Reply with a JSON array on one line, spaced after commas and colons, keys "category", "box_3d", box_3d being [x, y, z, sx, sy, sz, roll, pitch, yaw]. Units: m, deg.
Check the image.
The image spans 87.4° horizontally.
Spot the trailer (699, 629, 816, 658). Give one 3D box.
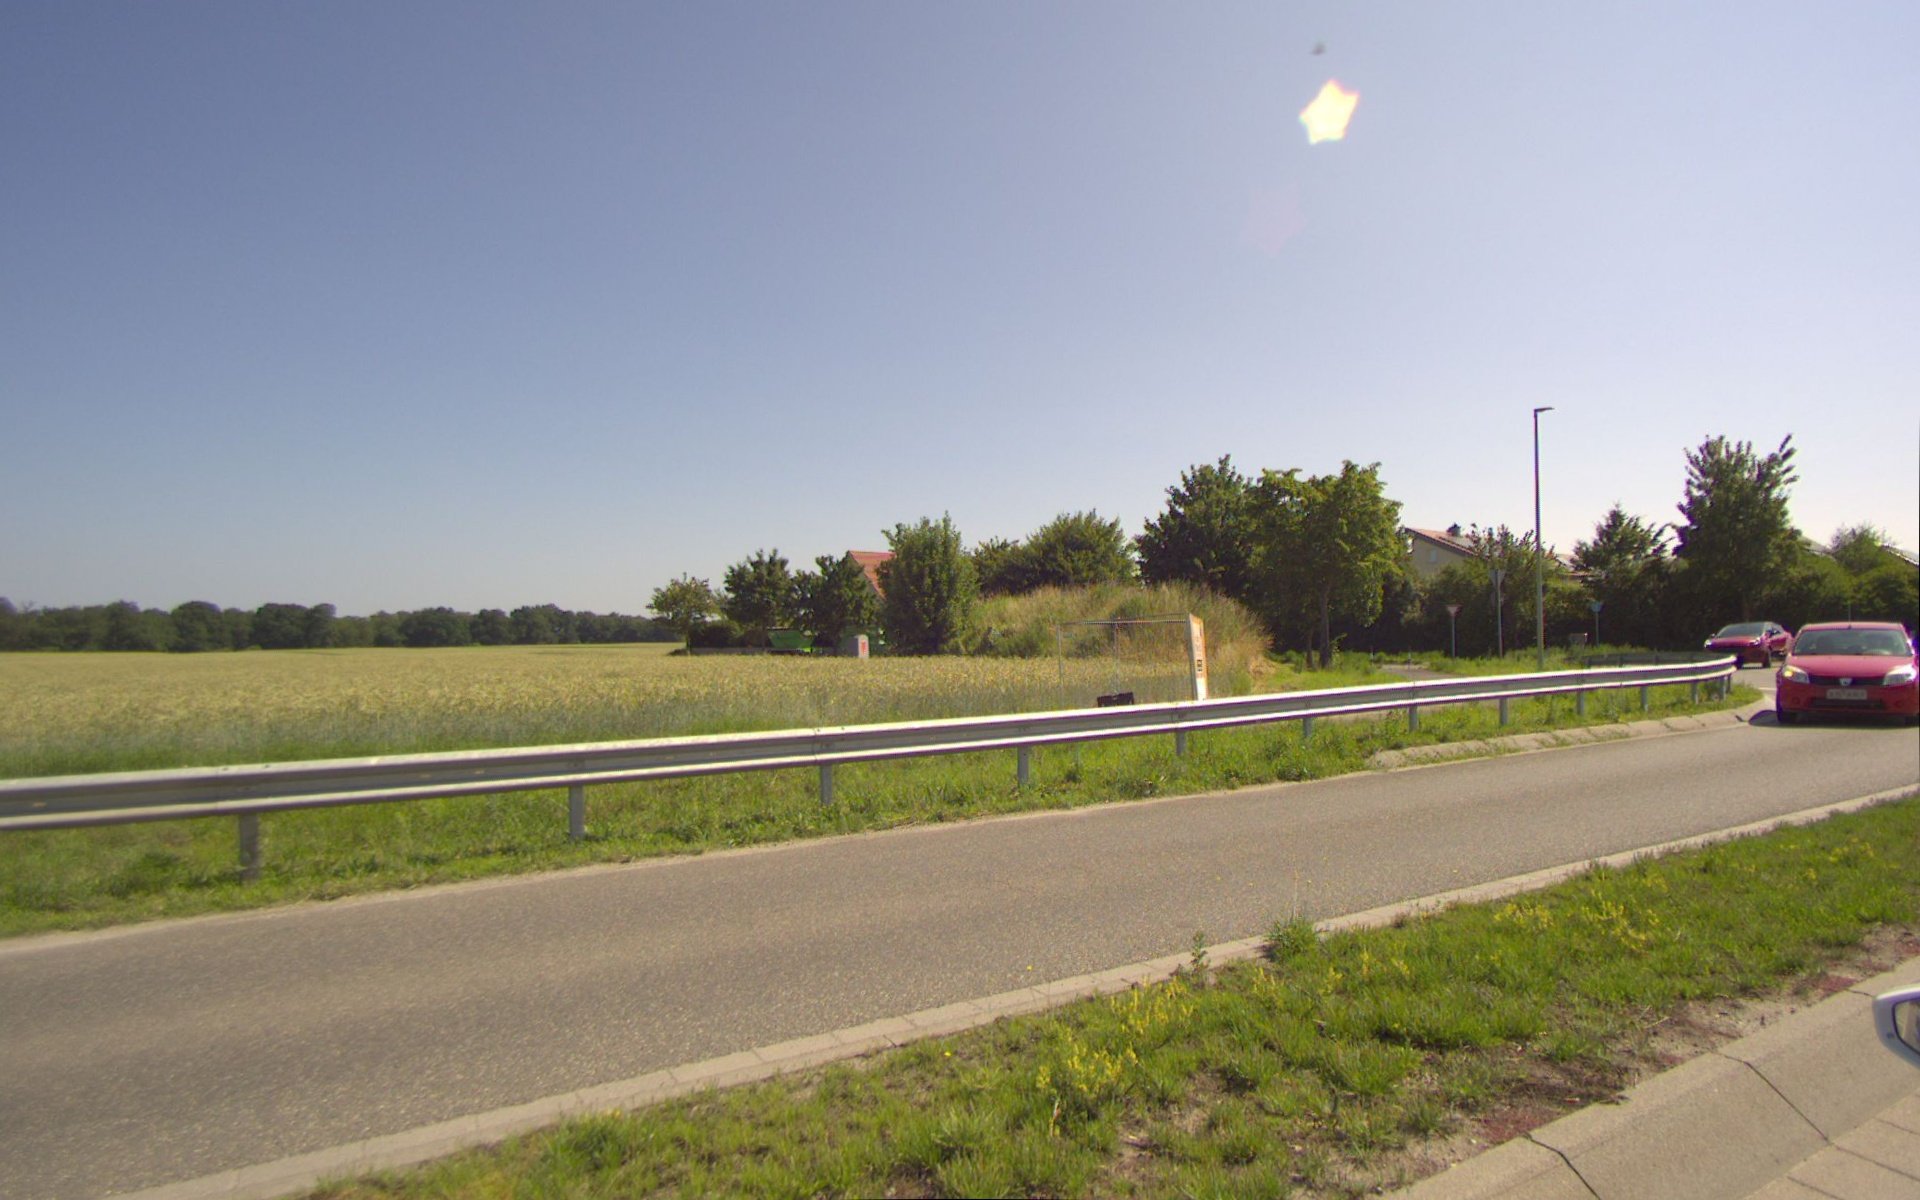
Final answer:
[{"category": "trailer", "box_3d": [-16.842, 3.549, 83.061, 10.293, 2.308, 1.999, -1, -1, 24]}]

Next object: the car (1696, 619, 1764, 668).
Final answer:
[{"category": "car", "box_3d": [26.597, 1.478, 34.730, 1.723, 1.542, 3.816, -3, -3, 37]}]

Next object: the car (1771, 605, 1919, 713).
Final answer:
[{"category": "car", "box_3d": [14.261, 0.900, 15.987, 3.777, 1.510, 1.612, 2, -3, -44]}]

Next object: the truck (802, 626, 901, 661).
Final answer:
[{"category": "truck", "box_3d": [-8.630, 3.389, 79.528, 7.541, 2.684, 2.520, -1, -1, 24]}]
